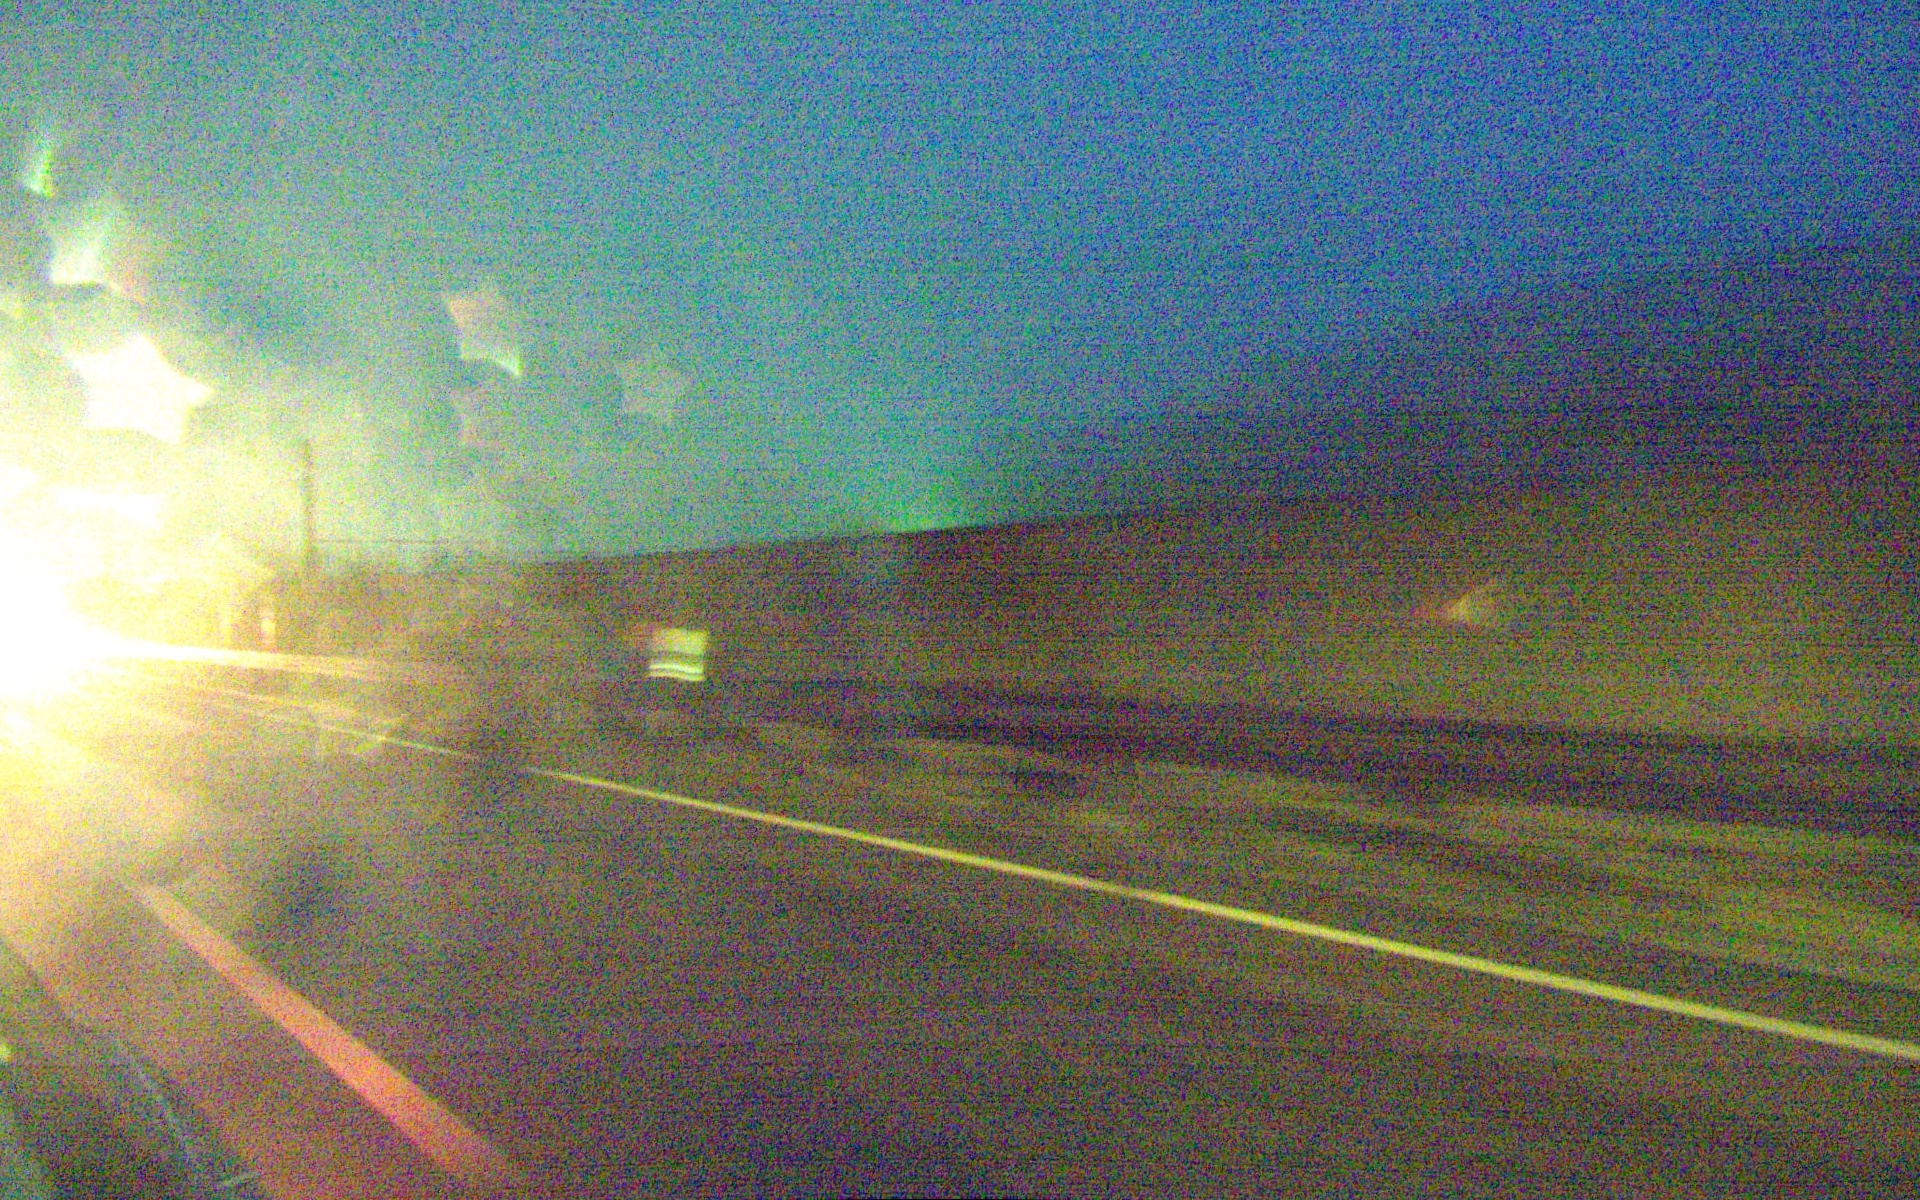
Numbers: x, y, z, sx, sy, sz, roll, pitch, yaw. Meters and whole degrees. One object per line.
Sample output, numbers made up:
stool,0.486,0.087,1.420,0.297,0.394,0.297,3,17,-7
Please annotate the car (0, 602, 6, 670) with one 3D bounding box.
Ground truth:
car,-34.703,1.293,35.075,5.466,2.290,1.972,-2,-1,42
